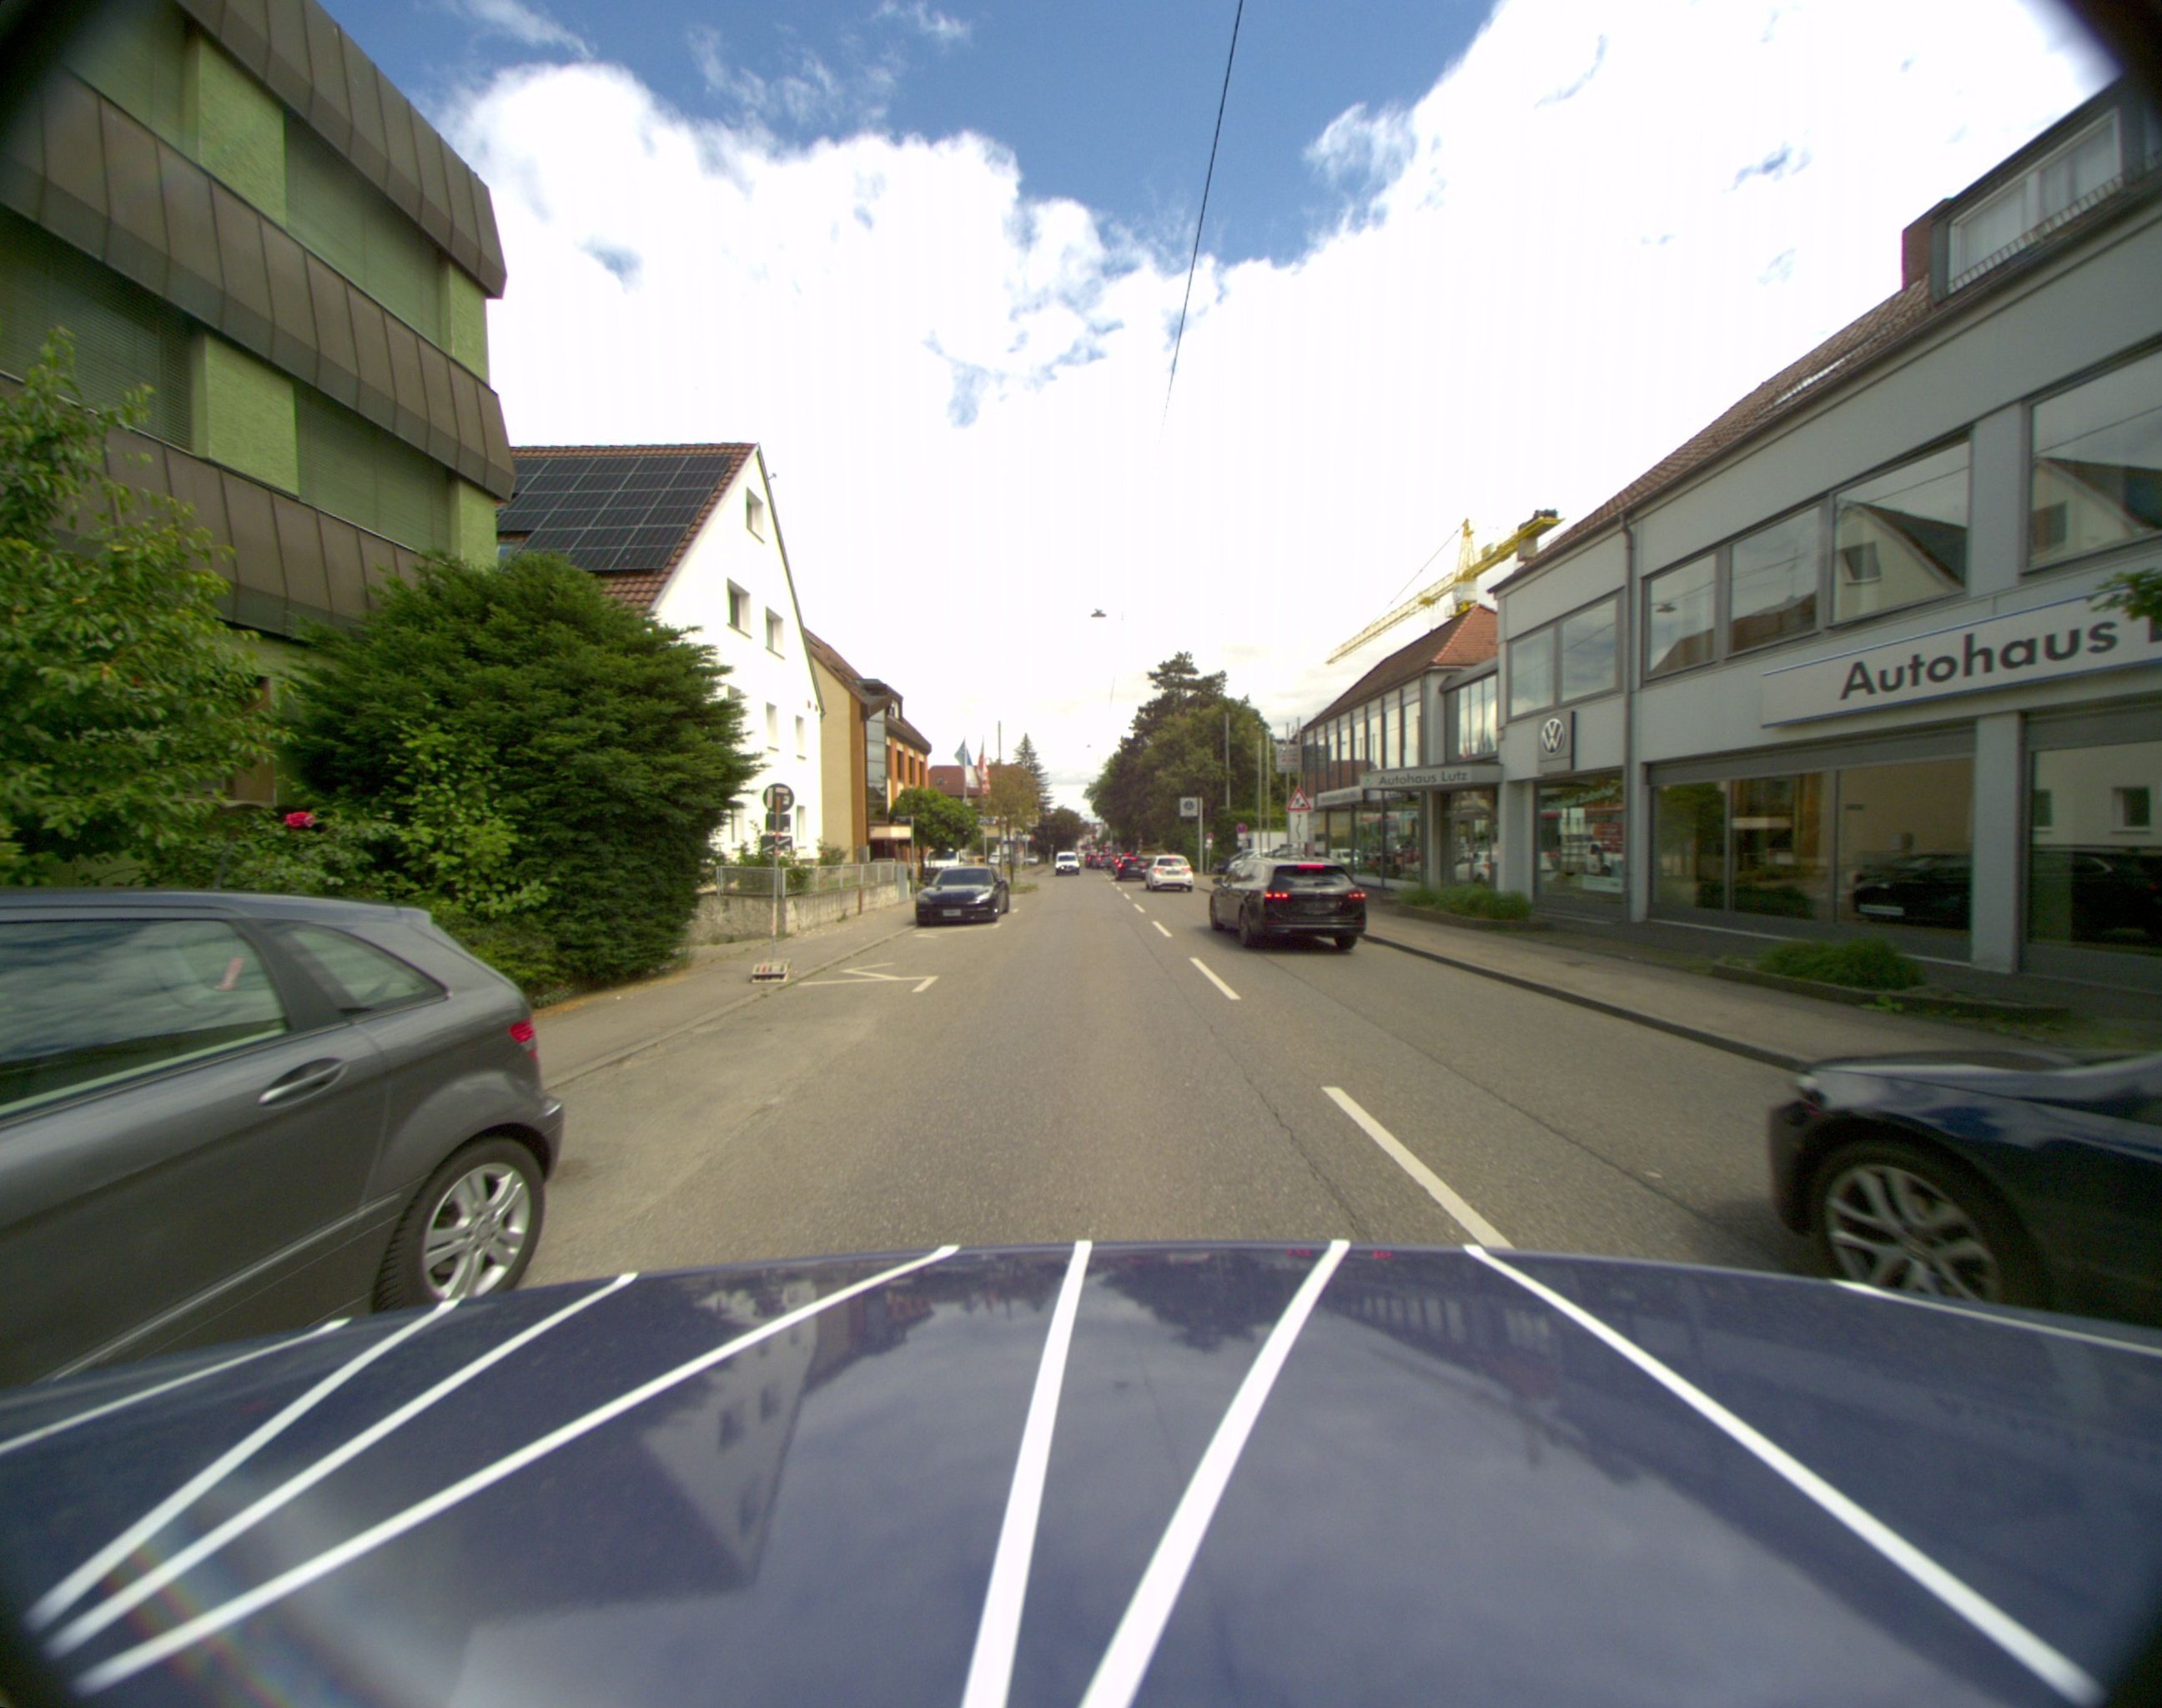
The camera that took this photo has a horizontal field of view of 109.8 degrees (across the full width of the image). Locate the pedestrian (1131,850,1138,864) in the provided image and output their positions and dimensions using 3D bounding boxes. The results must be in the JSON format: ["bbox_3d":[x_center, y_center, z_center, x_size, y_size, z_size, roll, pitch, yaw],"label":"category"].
[{"bbox_3d":[7.093,0.367,100.850,0.835,1.837,1.022,-1,2,3],"label":"pedestrian"}]

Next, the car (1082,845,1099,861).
[{"bbox_3d":[1.093,-0.146,93.309,1.913,1.940,4.913,0,0,-1],"label":"car"}]

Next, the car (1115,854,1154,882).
[{"bbox_3d":[3.056,0.788,44.171,1.836,1.514,4.169,0,1,-2],"label":"car"}]

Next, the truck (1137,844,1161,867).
[{"bbox_3d":[7.583,0.097,85.574,2.311,2.406,6.093,-1,1,2],"label":"truck"}]

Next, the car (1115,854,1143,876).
[{"bbox_3d":[3.528,0.801,56.646,1.836,1.620,4.320,0,0,0],"label":"car"}]

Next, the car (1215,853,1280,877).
[{"bbox_3d":[10.510,0.700,48.146,3.749,1.509,1.729,0,0,-2],"label":"car"}]

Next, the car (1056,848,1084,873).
[{"bbox_3d":[-0.825,0.498,59.629,1.965,1.796,4.428,-2,1,0],"label":"car"}]

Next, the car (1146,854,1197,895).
[{"bbox_3d":[3.789,0.818,32.253,1.694,1.570,3.799,0,1,-1],"label":"car"}]

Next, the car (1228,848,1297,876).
[{"bbox_3d":[10.974,0.475,45.991,3.749,1.551,1.534,-3,0,-2],"label":"car"}]

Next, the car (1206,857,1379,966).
[{"bbox_3d":[3.486,0.860,13.443,1.780,1.514,4.461,0,1,0],"label":"car"}]

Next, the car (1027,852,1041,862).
[{"bbox_3d":[-6.402,0.403,104.363,1.789,1.309,4.479,1,1,-3],"label":"car"}]

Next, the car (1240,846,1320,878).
[{"bbox_3d":[11.242,0.454,43.023,4.023,1.621,1.654,-3,0,-2],"label":"car"}]

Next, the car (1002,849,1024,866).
[{"bbox_3d":[-7.138,0.343,80.251,1.619,1.586,4.160,6,1,3],"label":"car"}]

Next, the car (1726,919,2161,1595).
[{"bbox_3d":[3.338,0.990,0.811,1.775,1.417,4.108,1,1,0],"label":"car"}]

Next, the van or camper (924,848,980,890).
[{"bbox_3d":[-6.785,0.729,40.364,1.871,2.020,4.548,-1,1,4],"label":"van or camper"}]

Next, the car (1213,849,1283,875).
[{"bbox_3d":[11.351,0.535,51.880,4.300,1.631,1.904,-2,0,1],"label":"car"}]

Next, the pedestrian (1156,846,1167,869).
[{"bbox_3d":[6.270,0.253,59.061,0.684,1.727,0.868,-1,2,0],"label":"pedestrian"}]

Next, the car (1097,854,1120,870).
[{"bbox_3d":[2.710,0.807,76.477,1.871,1.608,4.533,1,0,-4],"label":"car"}]

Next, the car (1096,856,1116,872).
[{"bbox_3d":[2.222,0.875,69.239,1.744,1.421,4.524,1,0,1],"label":"car"}]

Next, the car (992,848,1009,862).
[{"bbox_3d":[-9.513,0.120,89.946,1.639,1.520,4.202,4,1,-3],"label":"car"}]

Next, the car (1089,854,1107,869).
[{"bbox_3d":[1.795,0.810,82.177,1.870,1.518,4.528,0,0,1],"label":"car"}]

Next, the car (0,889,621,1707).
[{"bbox_3d":[-2.970,0.959,1.157,1.694,1.656,4.463,0,-1,2],"label":"car"}]

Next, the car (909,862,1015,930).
[{"bbox_3d":[-2.961,0.991,19.899,1.989,1.440,4.751,0,1,0],"label":"car"}]
